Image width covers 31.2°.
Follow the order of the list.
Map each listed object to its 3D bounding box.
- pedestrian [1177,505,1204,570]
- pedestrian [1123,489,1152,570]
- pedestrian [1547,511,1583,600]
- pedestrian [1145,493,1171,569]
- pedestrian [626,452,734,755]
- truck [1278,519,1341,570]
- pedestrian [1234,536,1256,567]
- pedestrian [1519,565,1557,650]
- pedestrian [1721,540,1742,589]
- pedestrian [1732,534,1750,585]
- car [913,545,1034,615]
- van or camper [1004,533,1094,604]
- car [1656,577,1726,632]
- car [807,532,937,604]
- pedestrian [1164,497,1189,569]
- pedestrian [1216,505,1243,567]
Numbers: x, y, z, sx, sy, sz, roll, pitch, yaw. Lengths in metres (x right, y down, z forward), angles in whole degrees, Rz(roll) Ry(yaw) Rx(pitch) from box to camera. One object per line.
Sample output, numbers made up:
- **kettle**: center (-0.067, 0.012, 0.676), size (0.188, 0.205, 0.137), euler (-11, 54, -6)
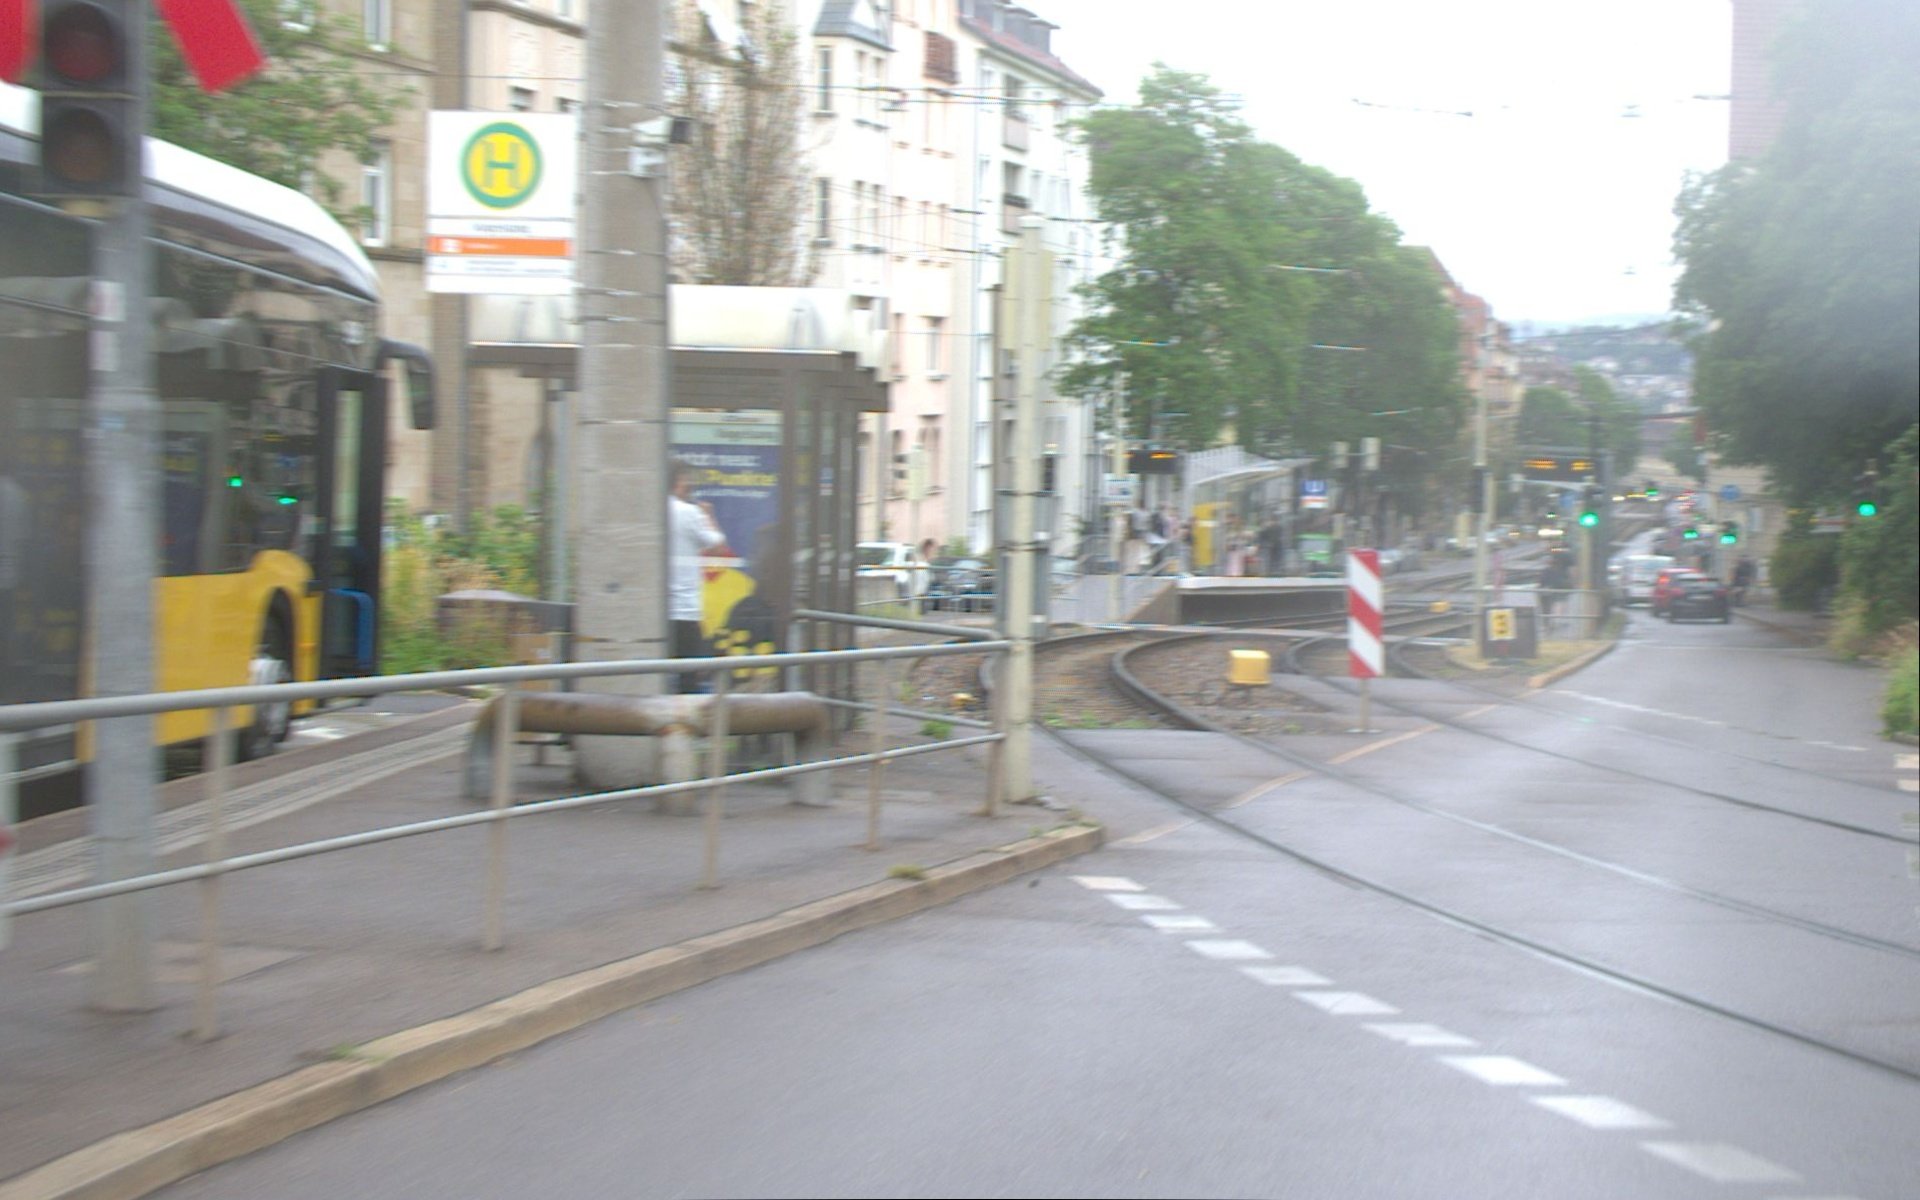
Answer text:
- **pedestrian**: center (6.023, -1.631, 89.839), size (0.594, 1.660, 0.761), euler (-1, 0, 12)
- **pedestrian**: center (4.081, -1.615, 79.059), size (0.561, 1.843, 0.598), euler (-1, 0, 12)
- **pedestrian**: center (12.126, -0.892, 68.881), size (0.651, 1.778, 0.847), euler (1, 1, 12)
- **pedestrian**: center (4.836, -1.676, 83.881), size (0.516, 1.831, 0.761), euler (-1, 0, 12)
- **pedestrian**: center (-1.632, 0.016, 20.100), size (0.576, 1.746, 0.543), euler (0, 0, 1)
- **truck**: center (16.914, -2.677, 166.217), size (2.052, 2.385, 6.317), euler (1, 1, 15)
- **pedestrian**: center (8.098, -1.382, 97.635), size (0.550, 0.869, 0.614), euler (-1, 0, 12)
- **pedestrian**: center (10.811, 0.135, 64.284), size (0.651, 1.557, 0.683), euler (1, 1, 12)
- **pedestrian**: center (27.118, -1.249, 120.820), size (0.695, 1.689, 0.555), euler (1, 1, 11)
- **pedestrian**: center (27.566, -1.438, 121.365), size (0.554, 1.807, 0.650), euler (1, 1, 9)
- **car**: center (0.393, -0.493, 88.095), size (1.995, 1.726, 4.810), euler (0, 0, 14)
- **van or camper**: center (2.619, -0.927, 100.111), size (1.994, 2.007, 3.998), euler (0, 1, 11)
- **car**: center (21.054, 0.125, 99.156), size (1.852, 1.468, 3.998), euler (0, 1, 10)
- **car**: center (-1.995, -0.751, 79.364), size (1.924, 1.617, 4.532), euler (0, 1, 13)
- **pedestrian**: center (5.506, -1.699, 87.356), size (0.516, 1.831, 0.761), euler (-1, 0, 12)
- **pedestrian**: center (7.293, -1.728, 93.069), size (0.594, 1.660, 0.761), euler (-1, 0, 12)
